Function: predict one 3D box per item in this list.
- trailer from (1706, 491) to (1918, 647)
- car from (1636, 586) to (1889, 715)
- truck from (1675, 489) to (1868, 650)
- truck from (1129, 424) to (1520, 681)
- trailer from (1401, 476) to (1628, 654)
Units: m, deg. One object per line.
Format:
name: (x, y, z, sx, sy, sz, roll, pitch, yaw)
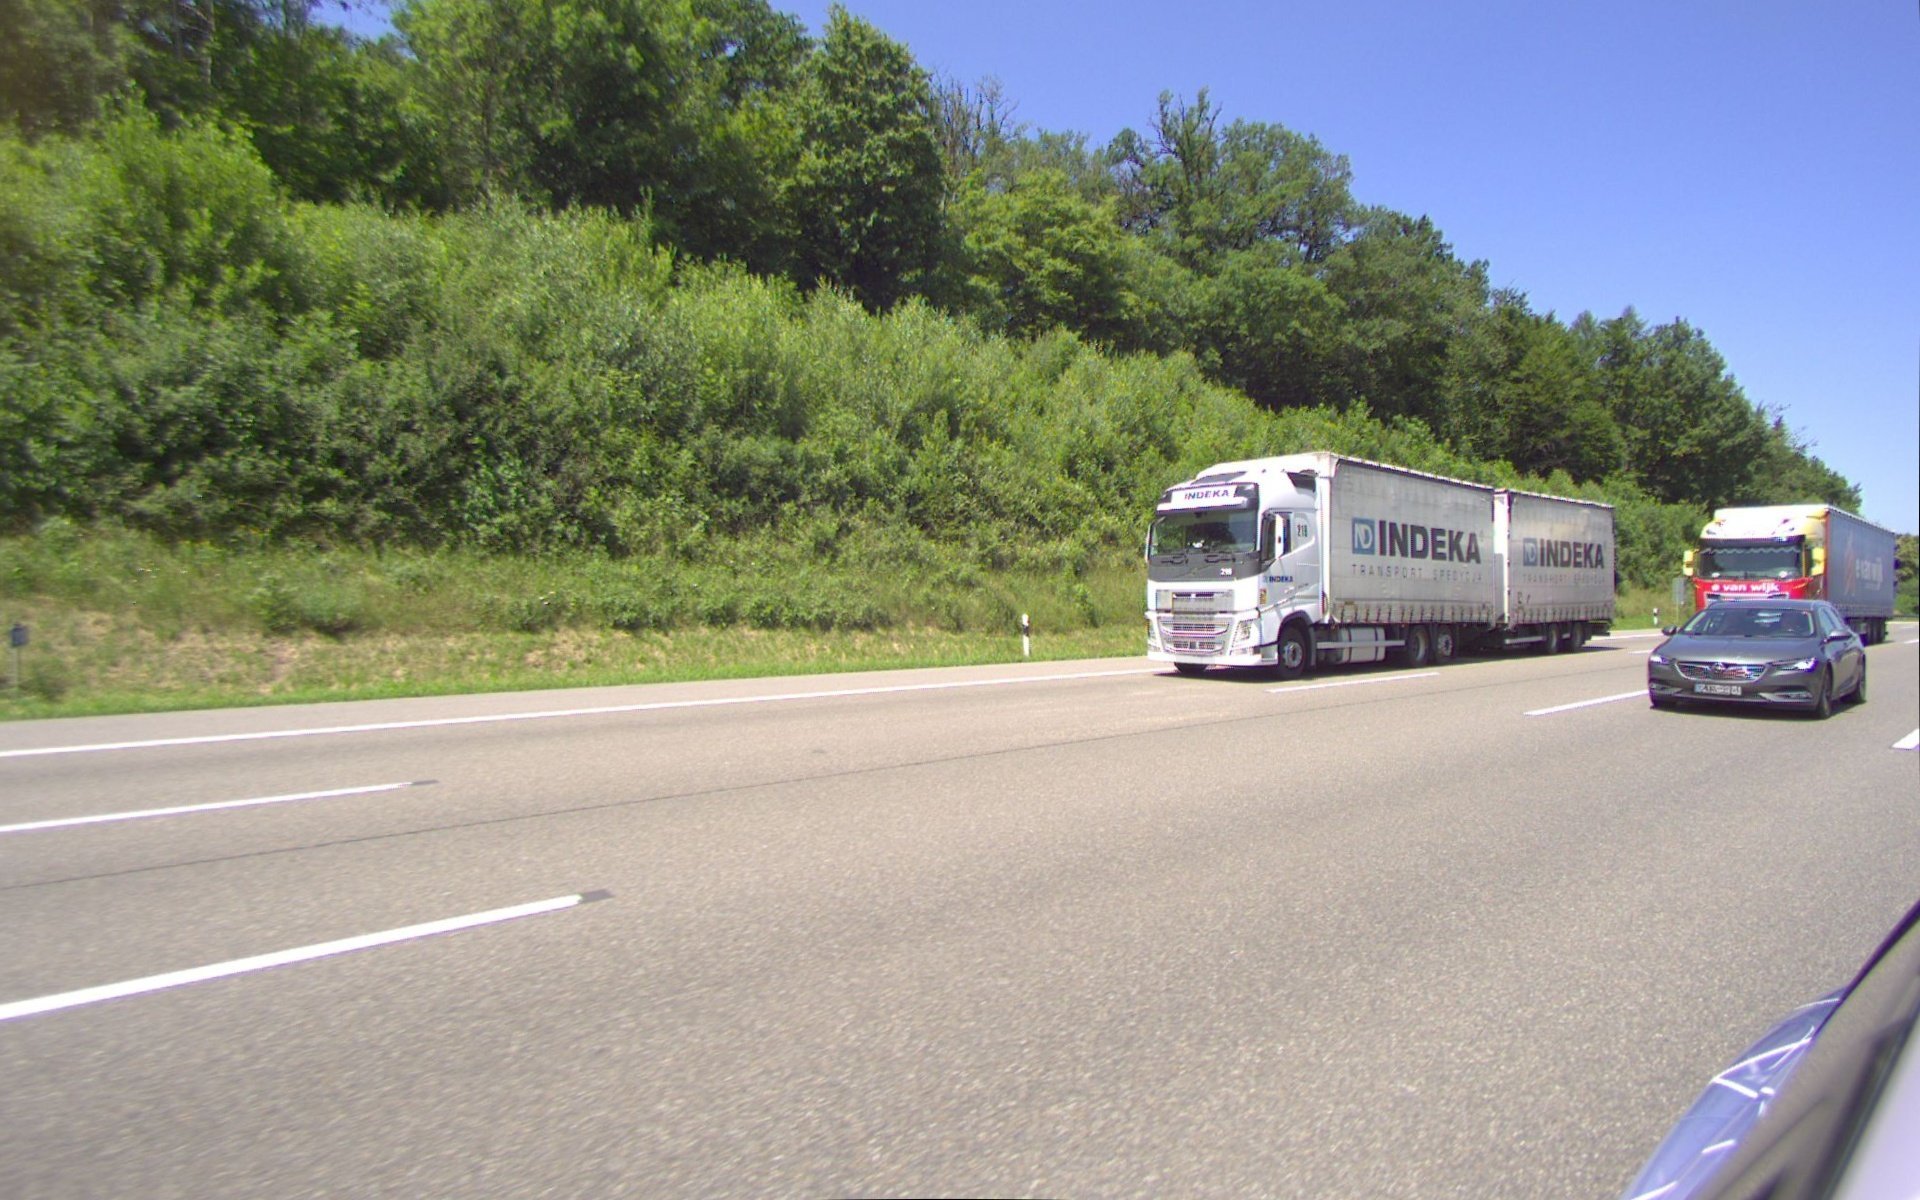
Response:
trailer: (28.110, -0.860, 32.946, 14.587, 4.195, 2.925, 0, 1, -41)
car: (11.319, 0.565, 14.120, 5.135, 1.471, 1.970, 0, 1, -42)
truck: (23.271, -0.773, 28.867, 7.407, 4.031, 3.016, 0, 0, -41)
truck: (8.091, -0.809, 21.155, 10.776, 4.213, 2.727, 0, 0, -41)
trailer: (15.012, -0.839, 27.067, 8.235, 4.121, 2.584, 0, 0, -41)
